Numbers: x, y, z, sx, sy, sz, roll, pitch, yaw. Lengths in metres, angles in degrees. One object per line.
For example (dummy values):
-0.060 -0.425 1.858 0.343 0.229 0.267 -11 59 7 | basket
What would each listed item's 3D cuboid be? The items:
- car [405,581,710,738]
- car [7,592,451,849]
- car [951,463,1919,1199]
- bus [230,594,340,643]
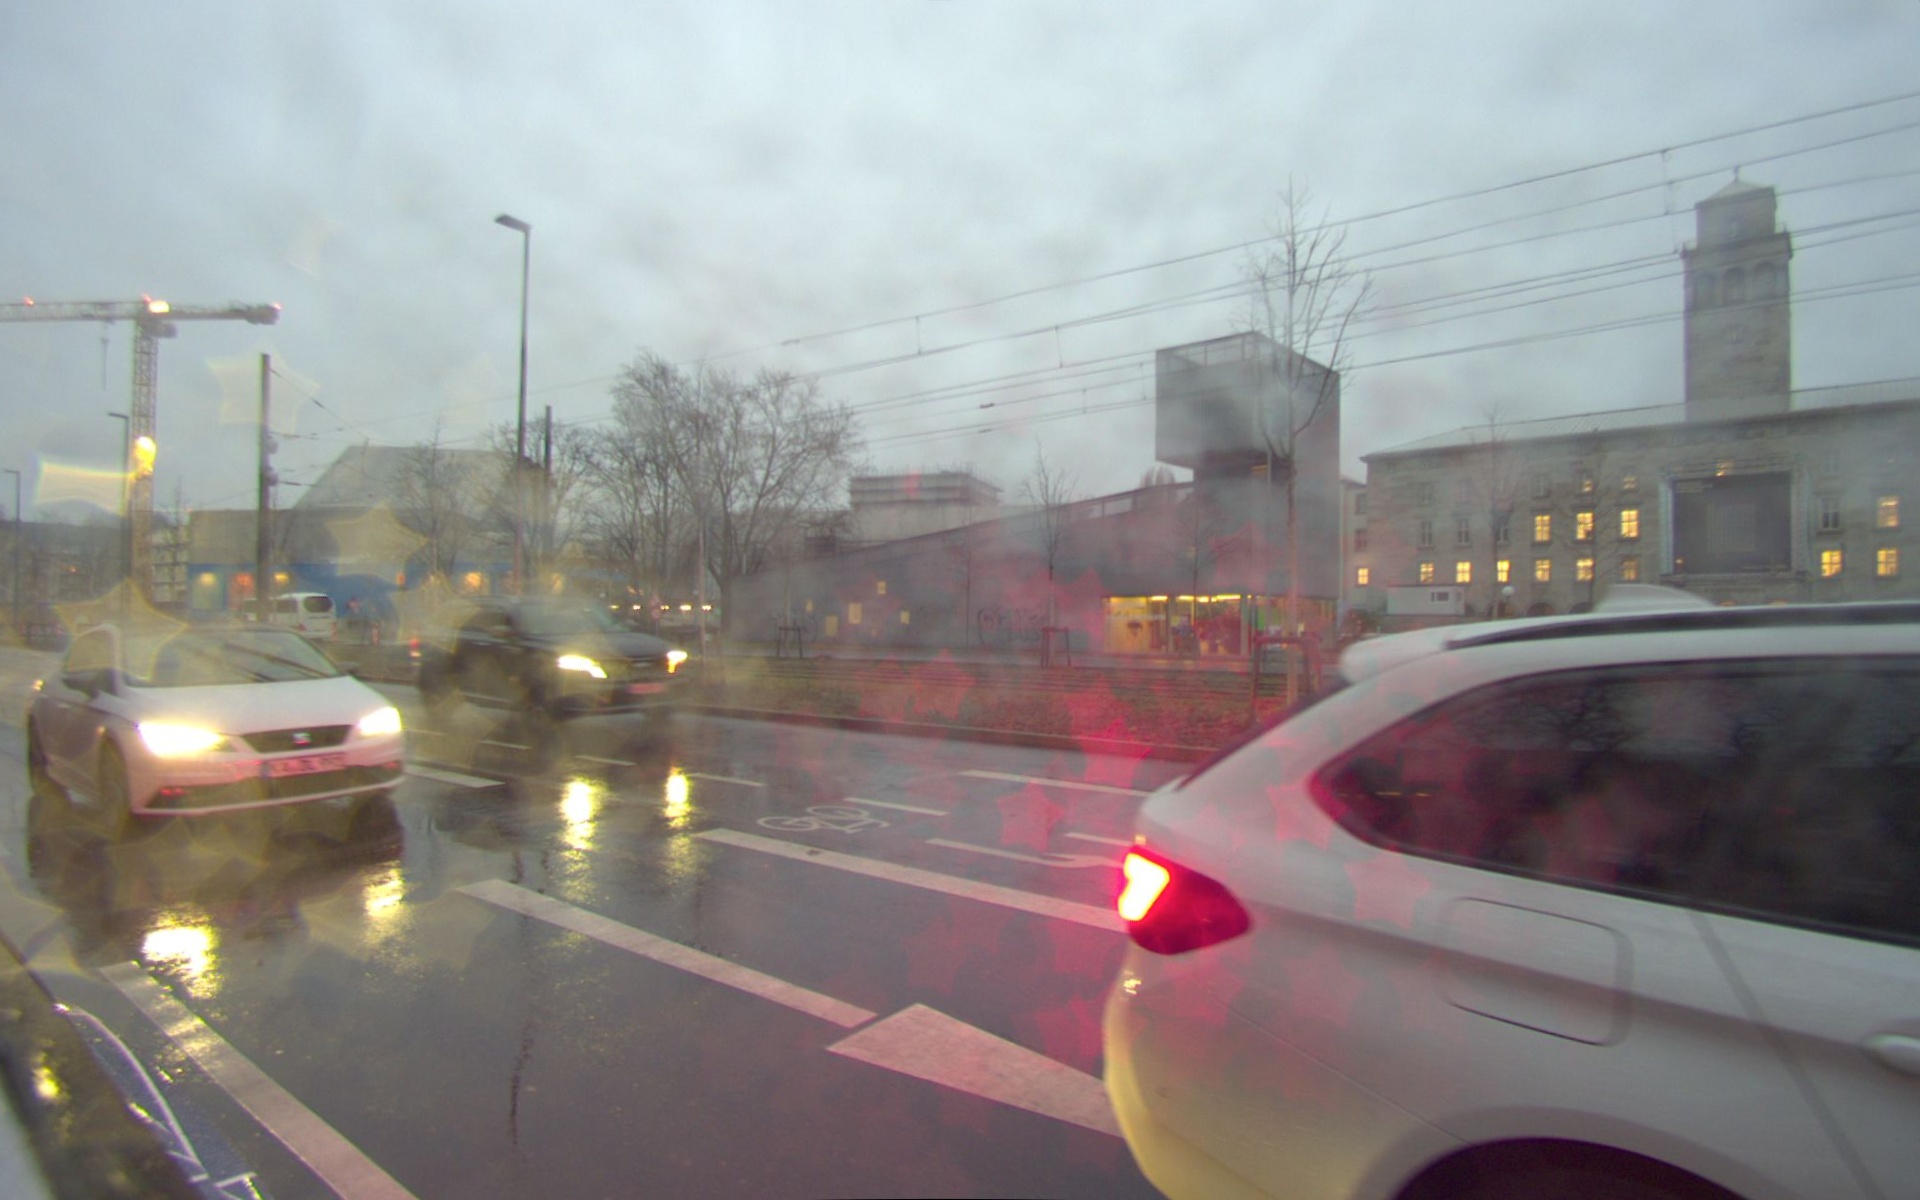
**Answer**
-5.447 0.715 13.427 4.606 1.756 1.686 -1 -2 38 | car
-5.851 0.730 7.920 4.124 1.486 1.757 -1 0 38 | car
2.460 0.612 1.301 4.920 1.532 1.890 -1 -2 40 | car
-52.481 1.464 78.464 12.277 3.605 2.782 -1 -2 35 | bus
